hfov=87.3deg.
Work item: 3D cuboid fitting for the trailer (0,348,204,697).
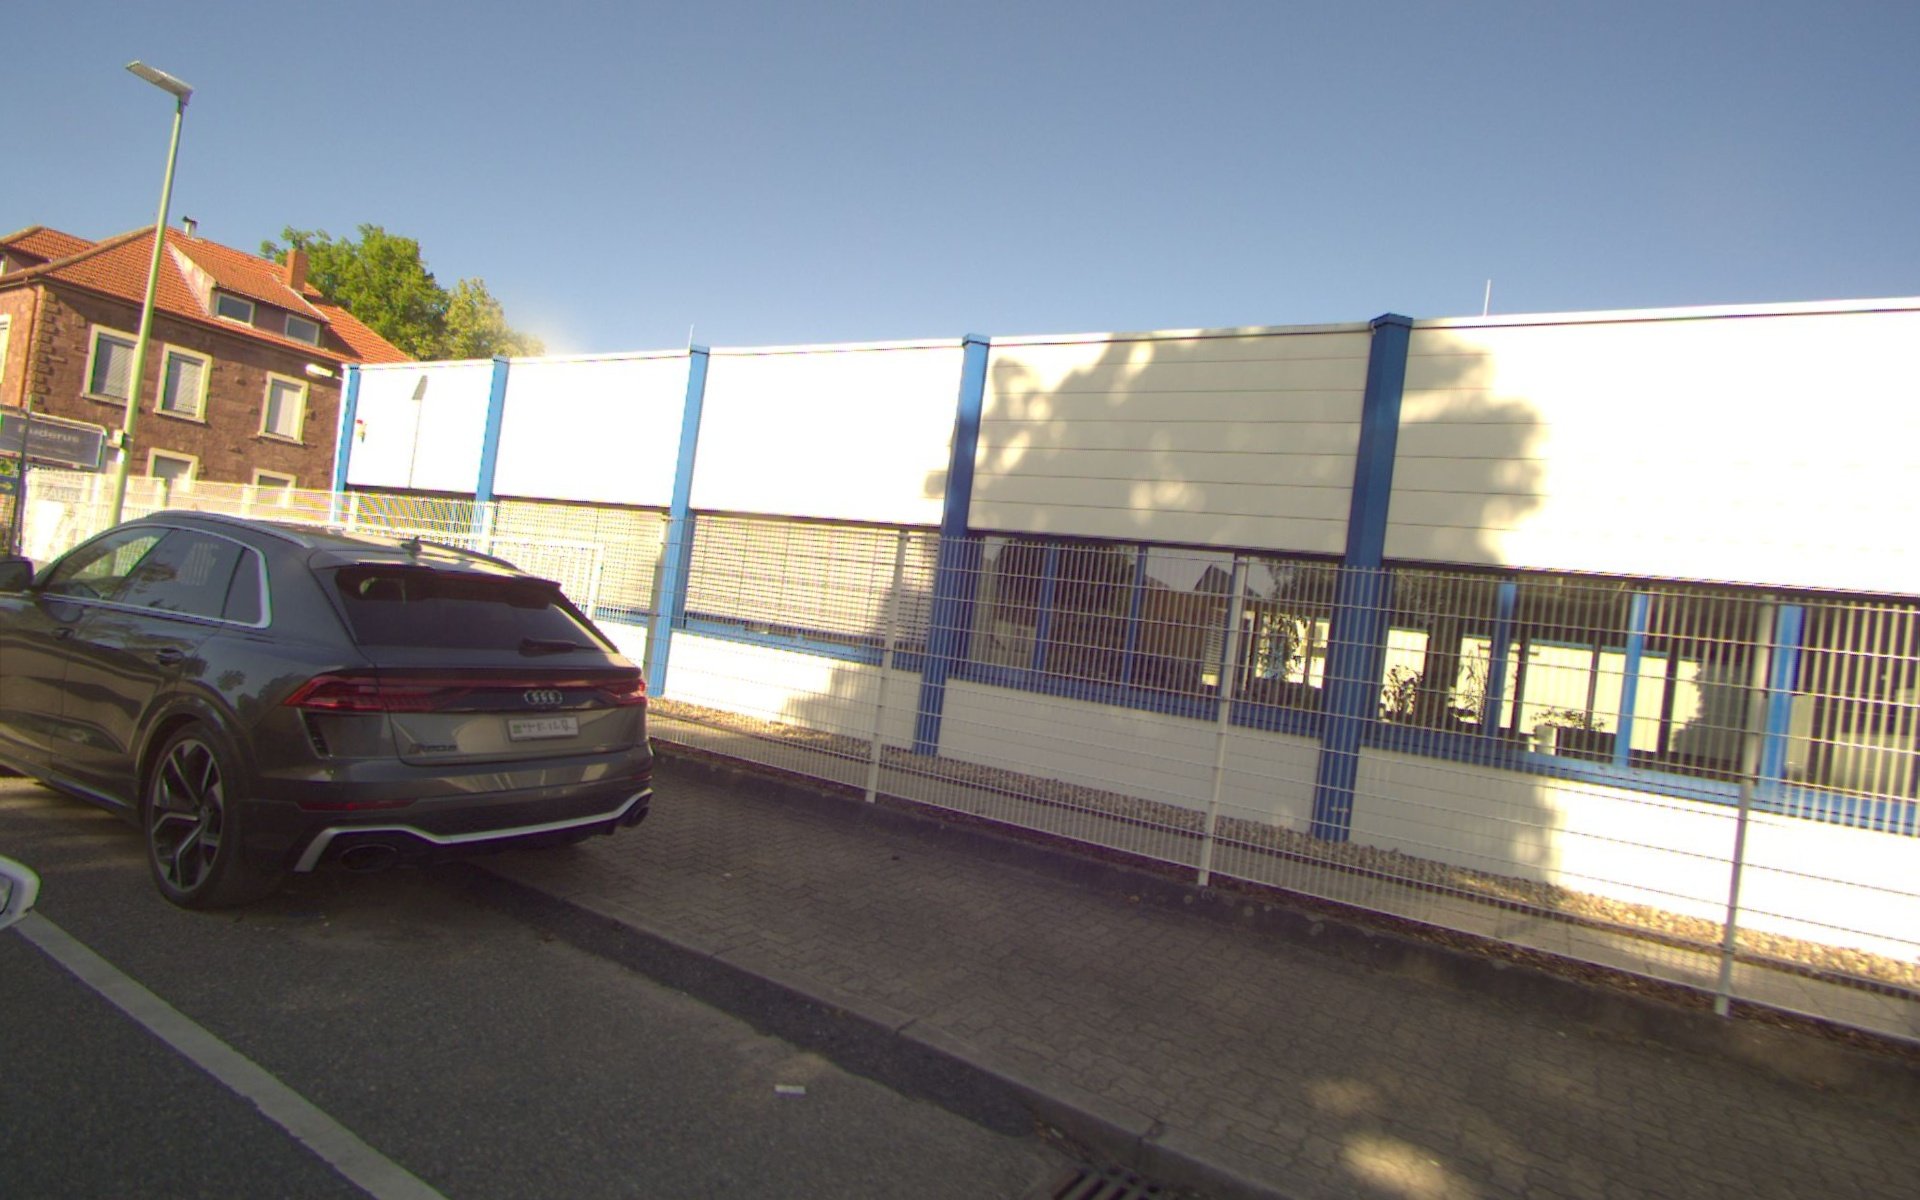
[{"bbox_3d":[-9.903,-0.863,9.379,5.607,2.704,2.464,6,-1,31],"label":"trailer"}]

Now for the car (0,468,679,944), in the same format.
[{"bbox_3d":[-4.093,0.325,5.752,4.653,1.685,1.999,6,-3,32],"label":"car"}]
